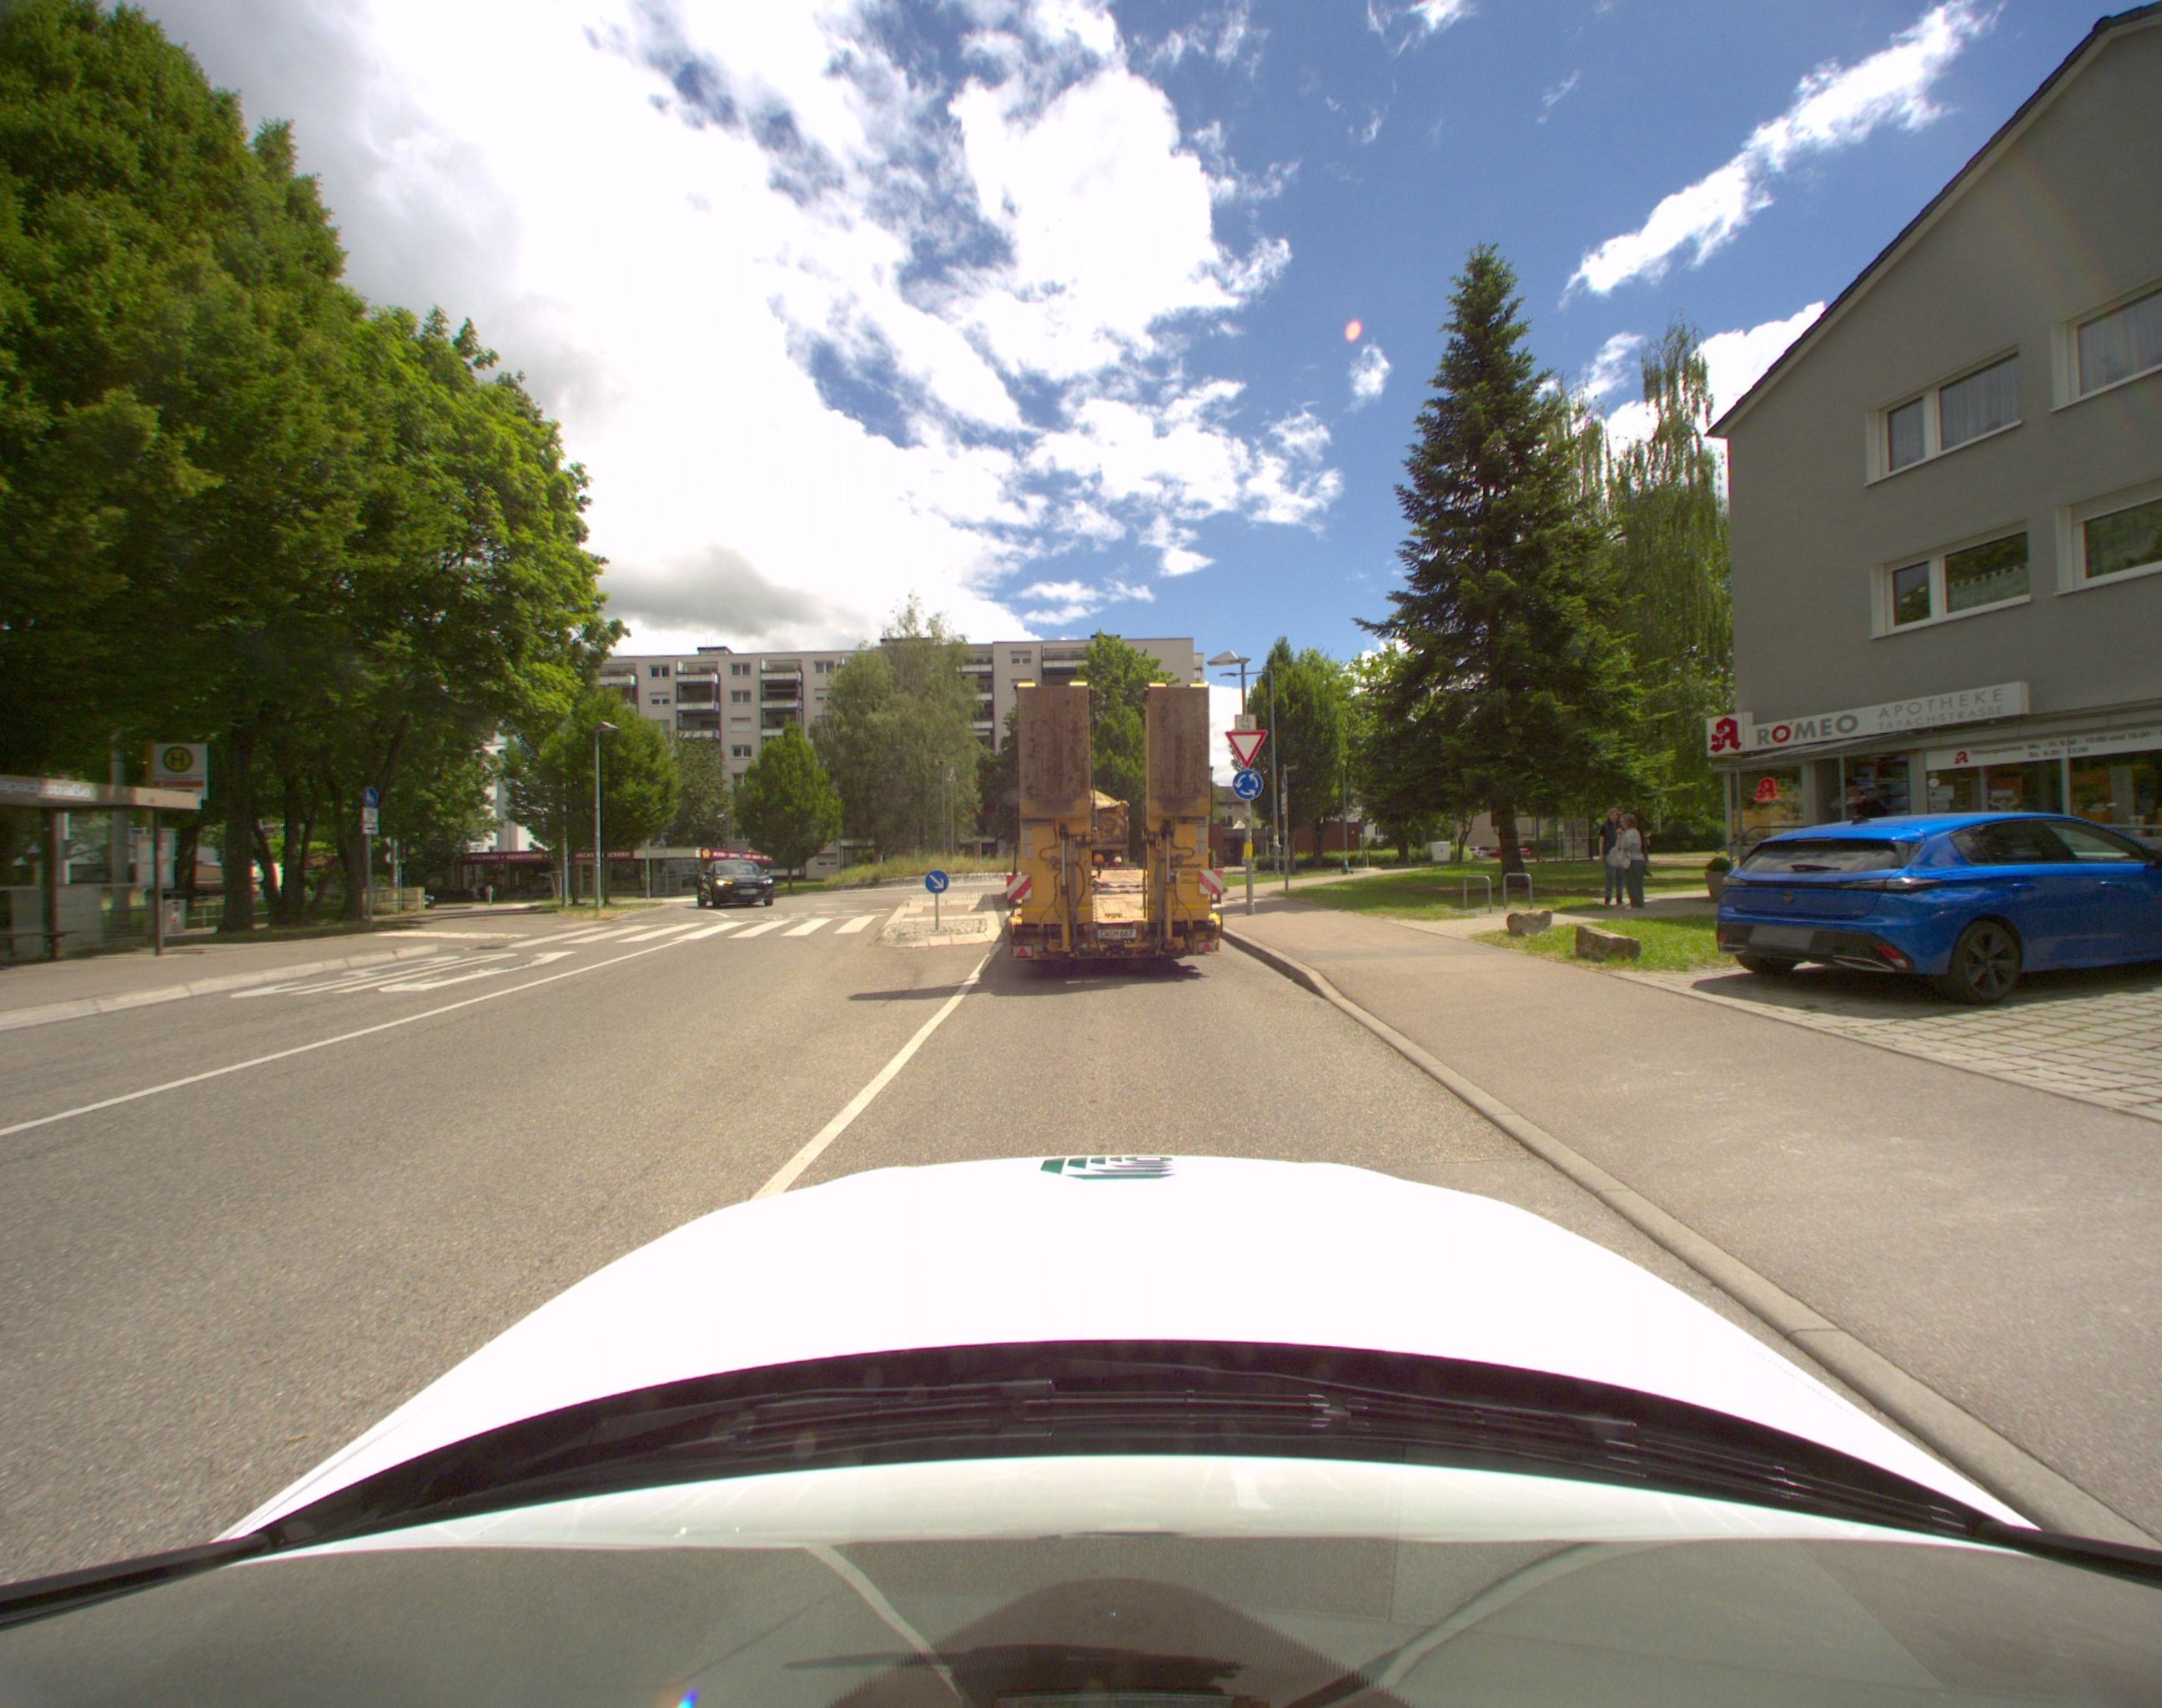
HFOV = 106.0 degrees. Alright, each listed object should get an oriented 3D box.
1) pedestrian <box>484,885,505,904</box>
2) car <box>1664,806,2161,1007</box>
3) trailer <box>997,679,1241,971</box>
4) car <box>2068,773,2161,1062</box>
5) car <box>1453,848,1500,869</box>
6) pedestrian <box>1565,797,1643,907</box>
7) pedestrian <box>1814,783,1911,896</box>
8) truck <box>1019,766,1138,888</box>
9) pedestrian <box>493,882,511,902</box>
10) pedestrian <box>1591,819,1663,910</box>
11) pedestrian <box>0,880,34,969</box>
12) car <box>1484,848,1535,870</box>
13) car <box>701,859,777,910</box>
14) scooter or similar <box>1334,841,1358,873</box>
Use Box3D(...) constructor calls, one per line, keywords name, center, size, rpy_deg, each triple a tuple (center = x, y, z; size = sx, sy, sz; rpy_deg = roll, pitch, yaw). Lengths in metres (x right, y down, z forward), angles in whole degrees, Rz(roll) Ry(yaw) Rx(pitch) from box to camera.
Box3D(name="pedestrian", center=(-42.279, 2.889, 58.702), size=(0.818, 1.325, 0.880), rpy_deg=(0, -1, -1))
Box3D(name="car", center=(8.081, 0.340, 7.431), size=(4.487, 1.243, 1.991), rpy_deg=(-4, 0, -13))
Box3D(name="trailer", center=(0.265, -0.383, 14.891), size=(2.856, 3.372, 10.832), rpy_deg=(0, 0, -2))
Box3D(name="car", center=(7.747, 0.210, 4.061), size=(3.730, 1.557, 2.024), rpy_deg=(-4, 0, -11))
Box3D(name="car", center=(38.196, 0.468, 78.776), size=(1.997, 1.941, 3.979), rpy_deg=(0, -1, -15))
Box3D(name="pedestrian", center=(10.018, -0.040, 15.646), size=(0.654, 2.013, 1.042), rpy_deg=(-2, -1, -12))
Box3D(name="pedestrian", center=(14.074, -0.261, 14.688), size=(0.842, 1.956, 0.936), rpy_deg=(-2, 0, -19))
Box3D(name="truck", center=(-0.252, -0.776, 24.582), size=(2.981, 3.034, 8.478), rpy_deg=(0, 1, -3))
Box3D(name="pedestrian", center=(-42.335, 2.799, 59.561), size=(0.693, 1.380, 0.721), rpy_deg=(-3, -1, 6))
Box3D(name="pedestrian", center=(9.669, 0.181, 14.435), size=(0.741, 1.529, 0.689), rpy_deg=(-2, -1, -8))
Box3D(name="pedestrian", center=(-14.238, 0.915, 10.299), size=(0.797, 1.135, 0.909), rpy_deg=(-1, -1, -7))
Box3D(name="car", center=(39.229, 0.437, 74.609), size=(2.015, 1.941, 3.979), rpy_deg=(0, -1, -15))
Box3D(name="car", center=(-11.570, 0.960, 27.407), size=(2.005, 1.526, 4.484), rpy_deg=(0, 0, -28))
Box3D(name="scooter or similar", center=(11.518, 0.113, 35.384), size=(0.480, 1.343, 1.397), rpy_deg=(-3, 0, 38))
